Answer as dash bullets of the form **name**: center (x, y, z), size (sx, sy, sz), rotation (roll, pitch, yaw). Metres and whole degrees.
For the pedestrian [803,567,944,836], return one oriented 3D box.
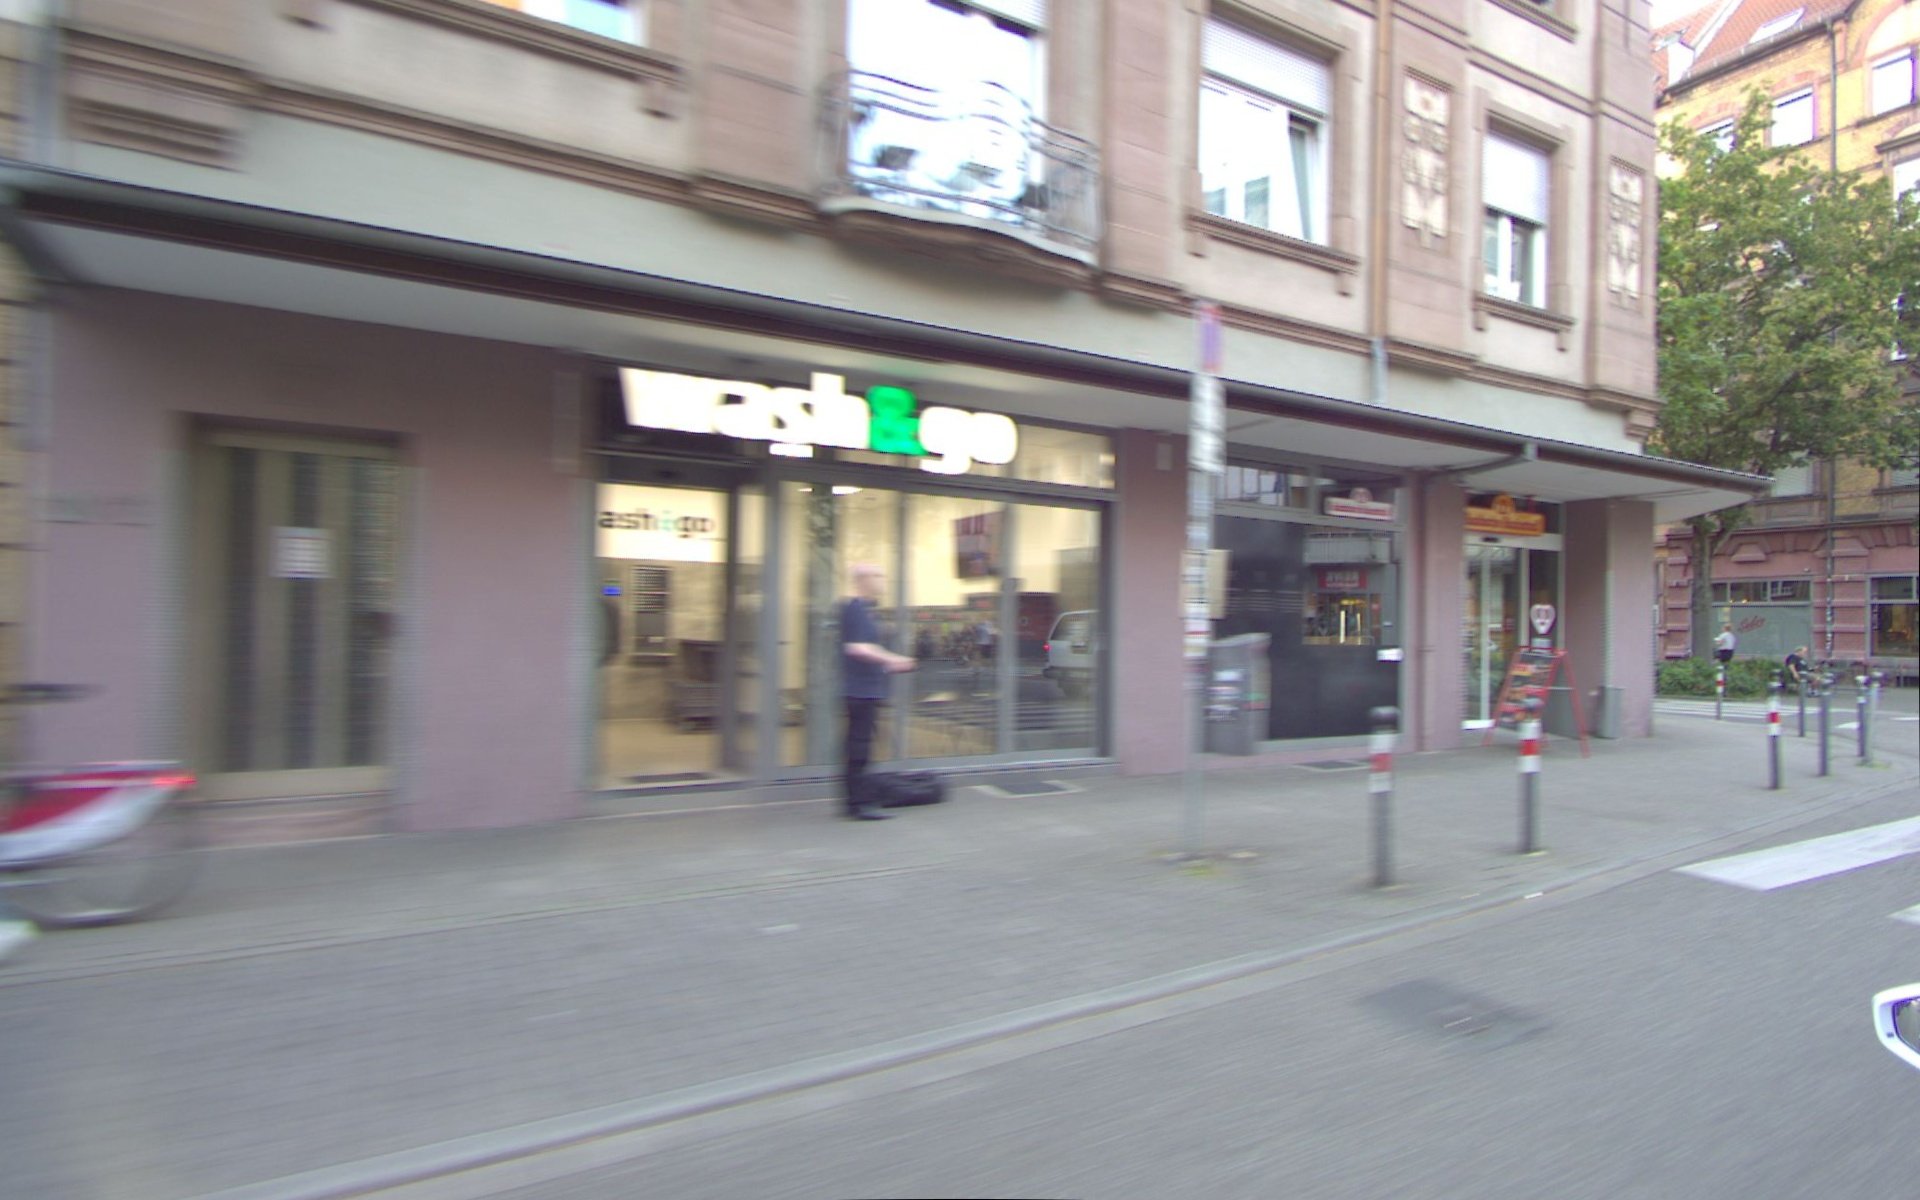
- **pedestrian**: center (-0.601, 0.648, 6.840), size (0.726, 1.700, 0.707), rotation (1, 0, -25)

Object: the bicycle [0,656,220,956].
- **bicycle**: center (-4.141, 0.817, 4.057), size (1.761, 1.157, 0.470), rotation (2, 0, -26)

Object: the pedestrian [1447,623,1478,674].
- **pedestrian**: center (17.967, 1.729, 35.953), size (0.904, 1.748, 0.668), rotation (2, 0, 23)

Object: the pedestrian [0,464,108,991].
- **pedestrian**: center (-3.805, 0.433, 3.601), size (0.983, 1.848, 0.535), rotation (2, 0, -26)

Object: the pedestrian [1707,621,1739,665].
- **pedestrian**: center (22.513, 1.263, 29.649), size (0.564, 1.279, 0.456), rotation (2, 0, -4)

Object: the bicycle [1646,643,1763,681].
- **bicycle**: center (22.917, 1.893, 31.015), size (0.618, 0.971, 2.883), rotation (2, 0, -29)

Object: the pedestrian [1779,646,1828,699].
- **pedestrian**: center (21.256, 1.816, 25.311), size (0.660, 1.279, 0.750), rotation (2, 0, -29)
